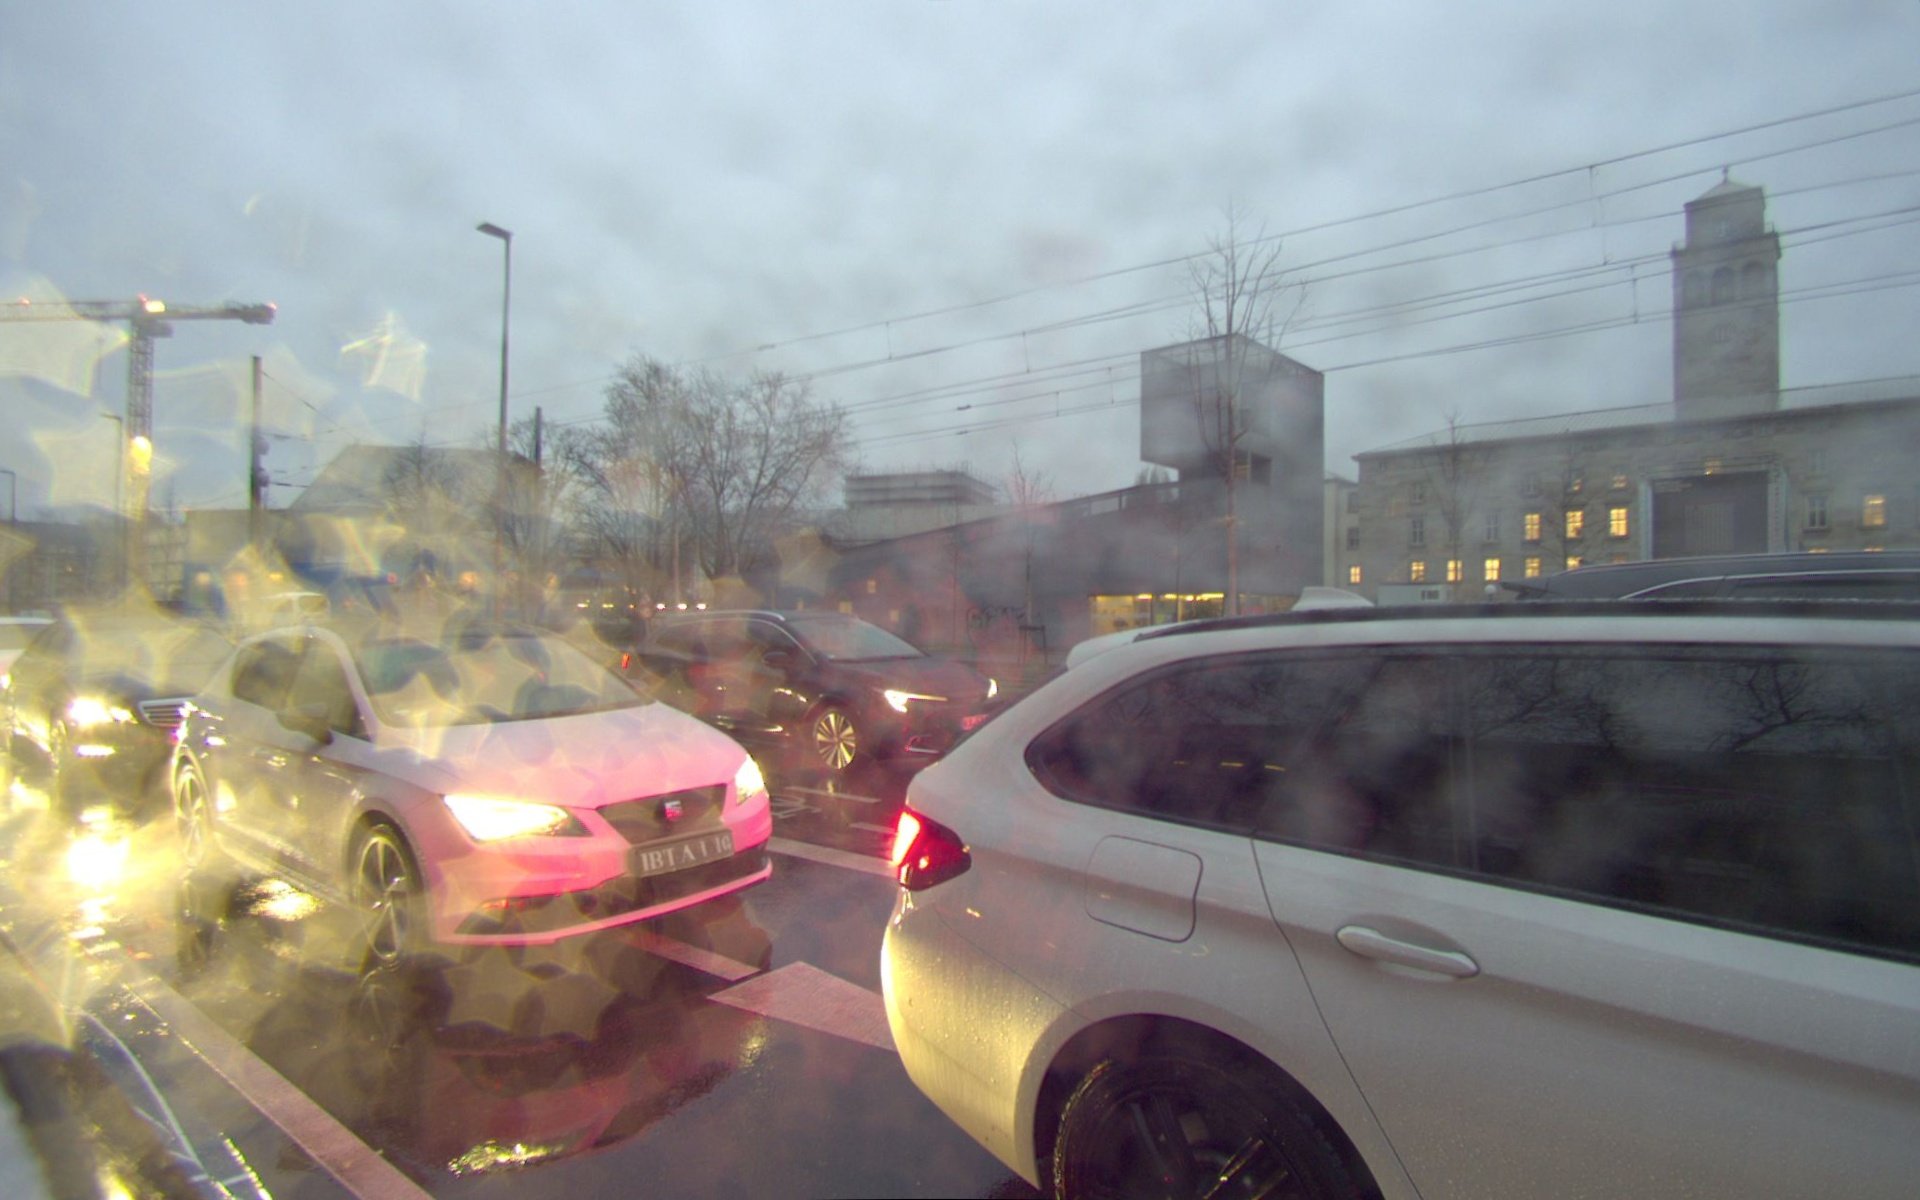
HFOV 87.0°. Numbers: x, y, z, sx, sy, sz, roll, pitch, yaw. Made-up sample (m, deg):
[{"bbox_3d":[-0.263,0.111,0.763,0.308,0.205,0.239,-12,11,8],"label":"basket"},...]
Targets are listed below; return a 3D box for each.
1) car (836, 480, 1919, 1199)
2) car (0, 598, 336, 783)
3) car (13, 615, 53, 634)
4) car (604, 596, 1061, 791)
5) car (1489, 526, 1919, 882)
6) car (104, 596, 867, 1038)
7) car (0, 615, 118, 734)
[{"bbox_3d":[2.080,0.624,1.652,4.557,1.498,1.996,-1,-2,41],"label":"car"},{"bbox_3d":[-8.376,0.786,10.412,4.501,1.498,1.974,-1,-2,39],"label":"car"},{"bbox_3d":[-94.976,2.533,103.667,3.989,1.910,2.072,-1,-2,34],"label":"car"},{"bbox_3d":[-1.441,0.749,10.082,4.659,1.519,1.830,0,-1,39],"label":"car"},{"bbox_3d":[5.224,0.472,5.006,4.289,1.596,1.946,-1,-1,42],"label":"car"},{"bbox_3d":[-2.836,0.769,5.587,4.497,1.498,1.926,-1,0,37],"label":"car"},{"bbox_3d":[-14.269,1.038,15.212,3.998,1.586,1.882,-1,0,41],"label":"car"}]
